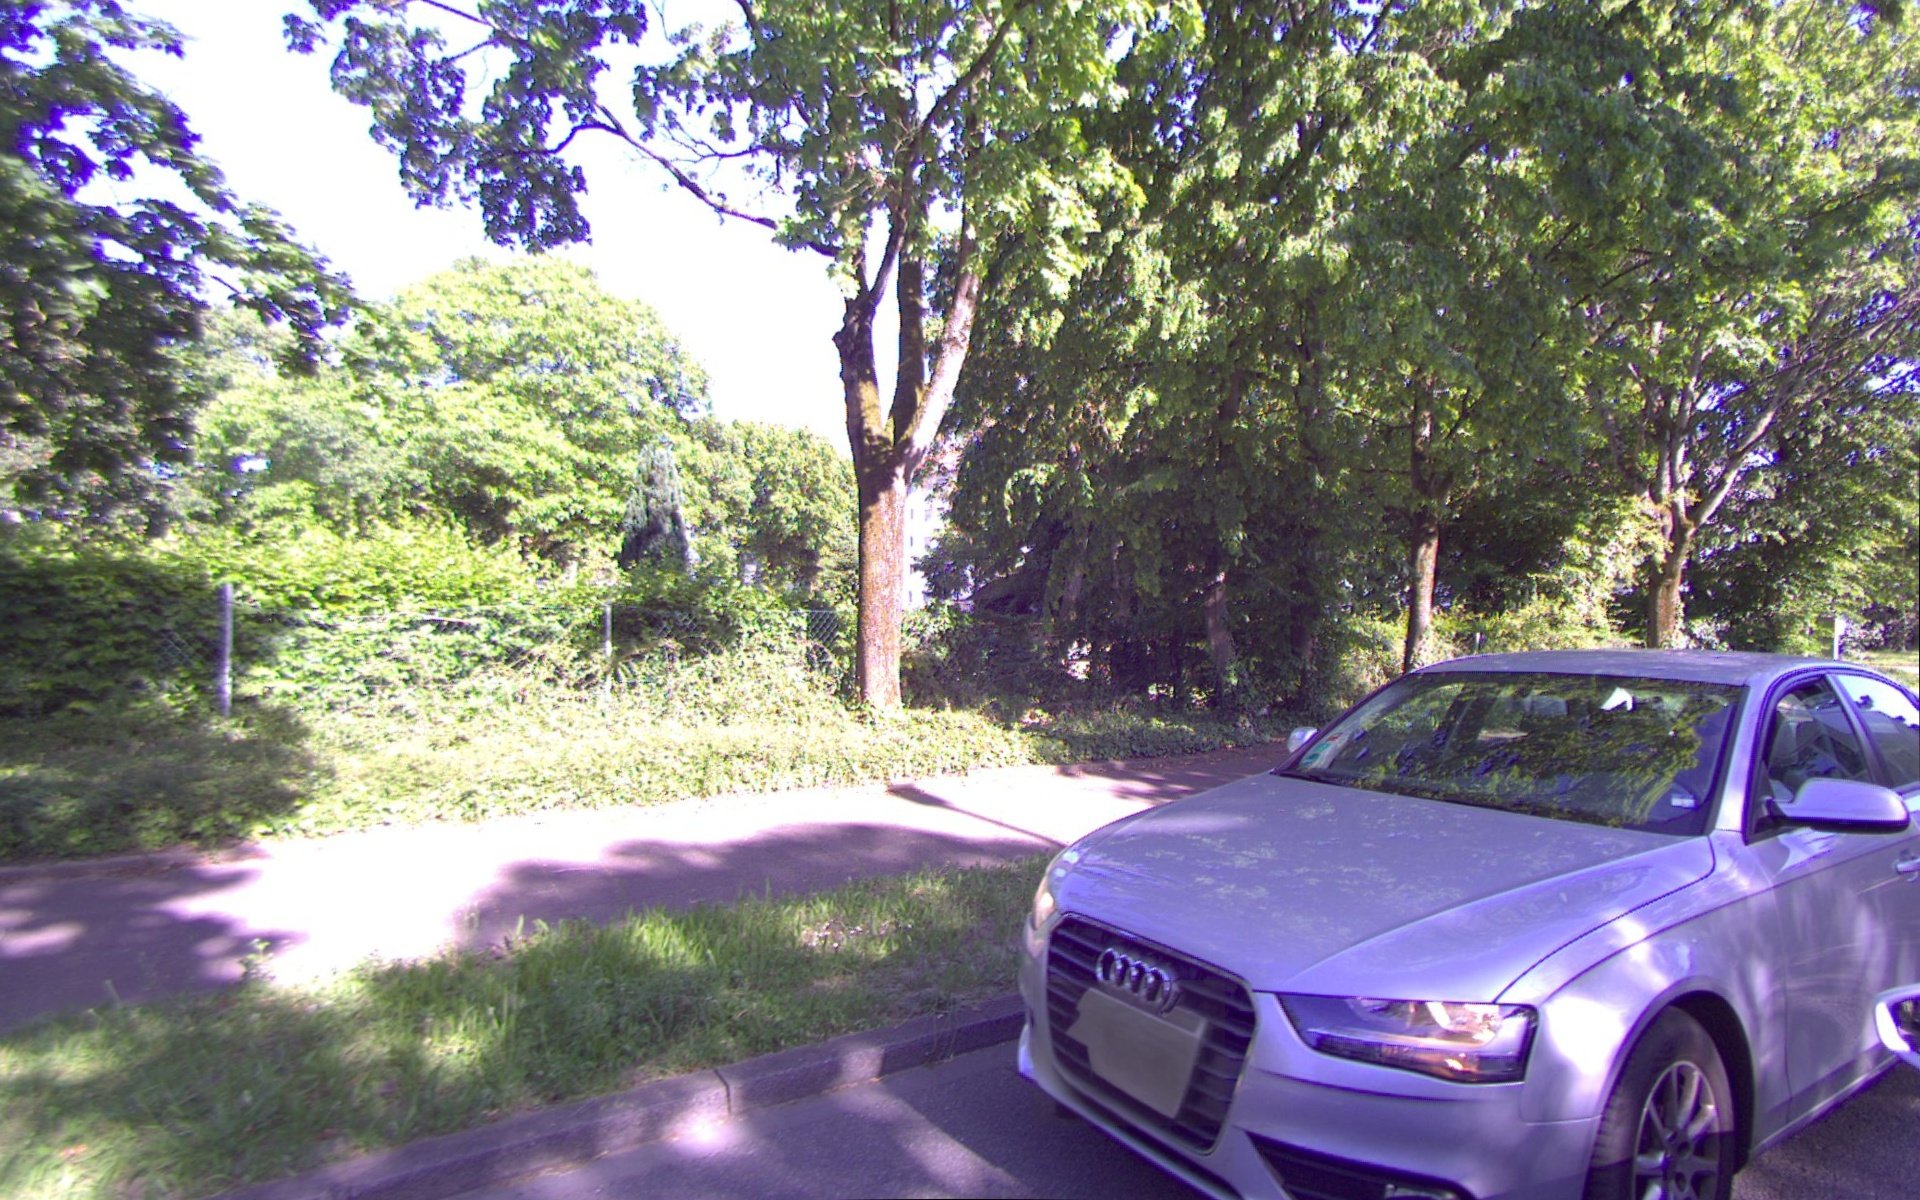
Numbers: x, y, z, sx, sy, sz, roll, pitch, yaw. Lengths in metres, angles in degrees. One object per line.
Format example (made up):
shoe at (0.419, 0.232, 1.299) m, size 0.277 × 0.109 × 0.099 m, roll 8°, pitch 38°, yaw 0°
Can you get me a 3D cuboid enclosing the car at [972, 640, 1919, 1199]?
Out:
car at (2.212, 0.891, 3.581) m, size 4.059 × 1.435 × 1.777 m, roll 1°, pitch -2°, yaw -32°
